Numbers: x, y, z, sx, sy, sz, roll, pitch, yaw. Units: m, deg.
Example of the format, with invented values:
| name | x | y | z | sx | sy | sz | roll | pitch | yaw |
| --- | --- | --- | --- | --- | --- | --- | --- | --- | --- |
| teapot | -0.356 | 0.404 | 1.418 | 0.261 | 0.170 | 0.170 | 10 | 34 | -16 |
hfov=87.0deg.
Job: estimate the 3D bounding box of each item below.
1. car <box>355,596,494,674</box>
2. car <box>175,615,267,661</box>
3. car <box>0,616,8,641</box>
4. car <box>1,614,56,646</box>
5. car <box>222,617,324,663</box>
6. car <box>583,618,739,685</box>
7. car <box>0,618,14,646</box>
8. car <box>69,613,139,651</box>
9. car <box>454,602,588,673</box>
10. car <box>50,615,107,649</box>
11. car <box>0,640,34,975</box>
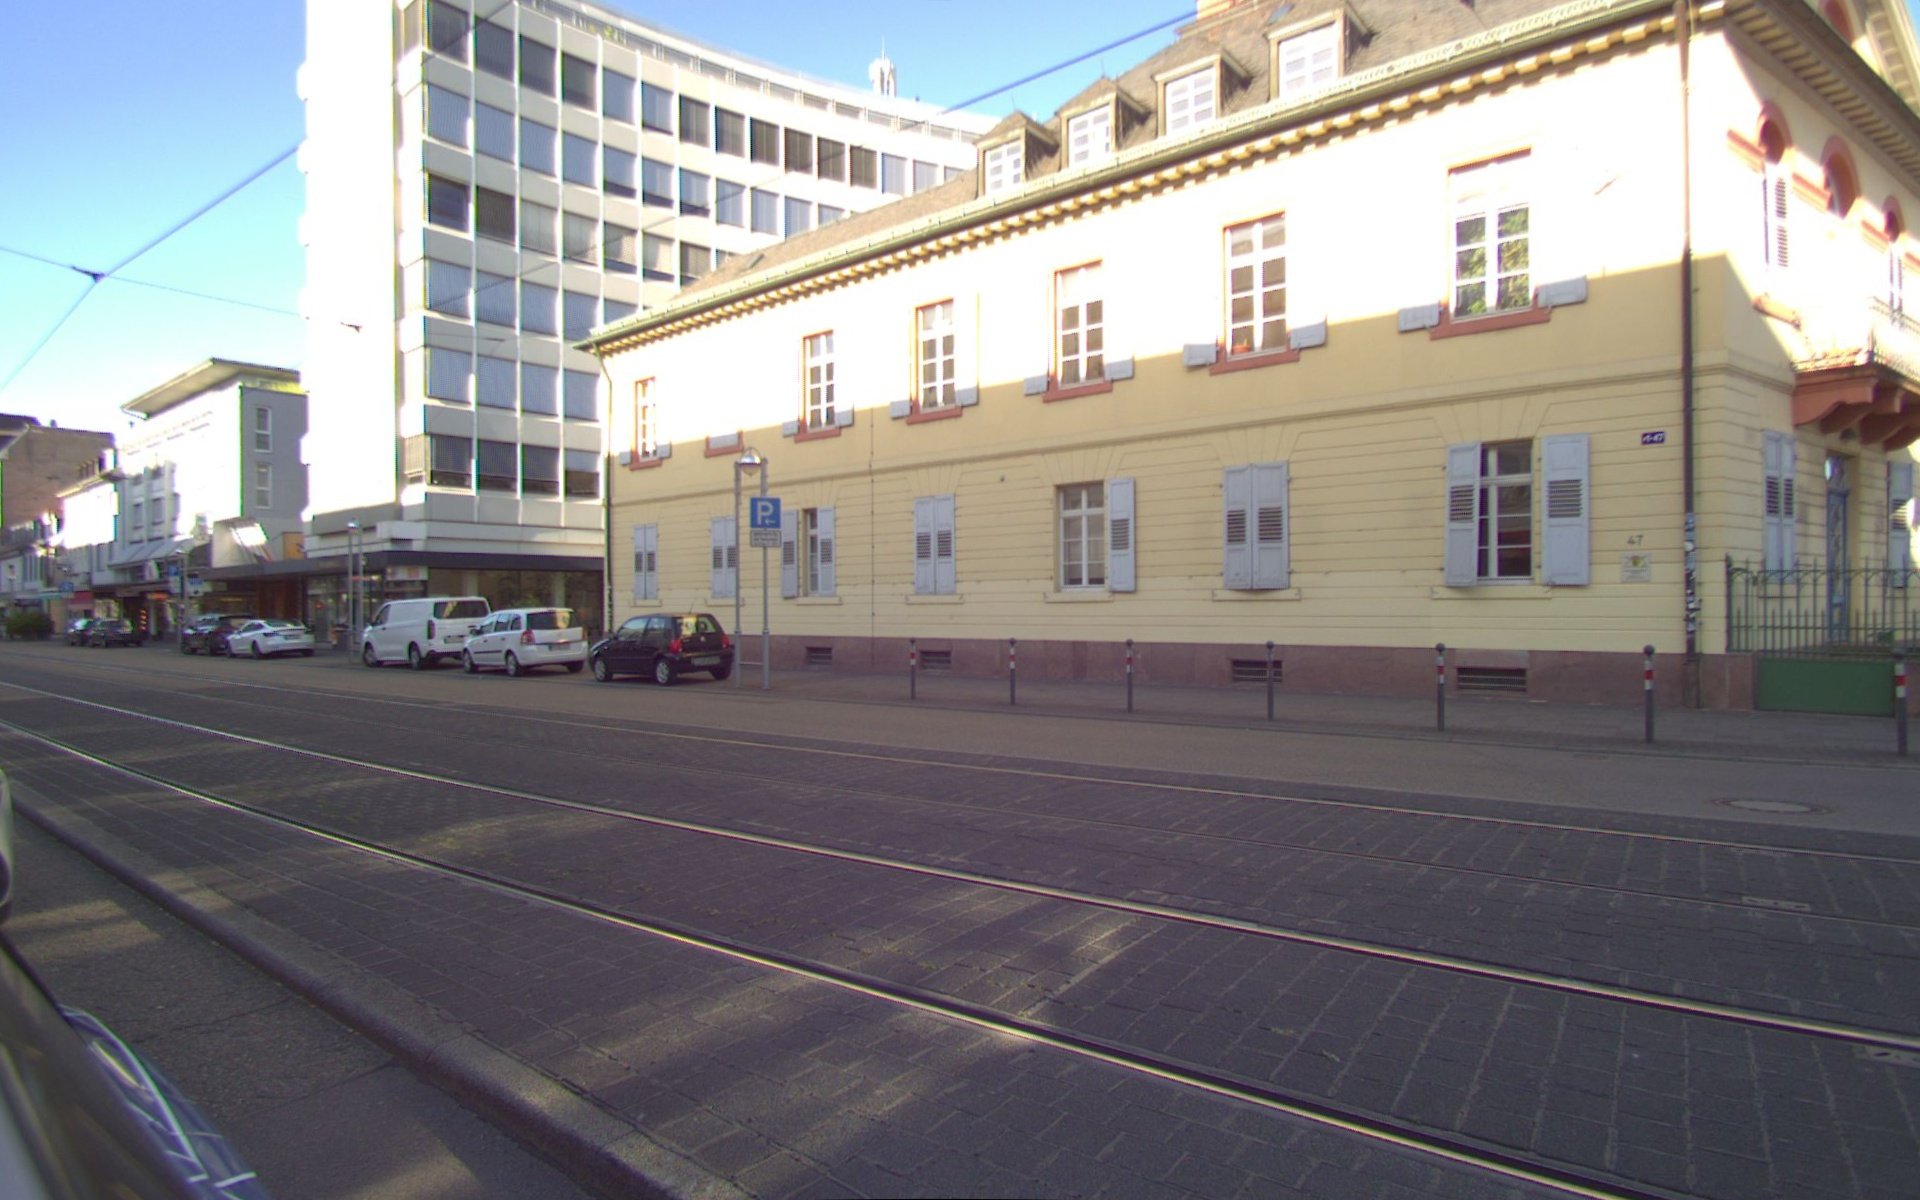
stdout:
| name | x | y | z | sx | sy | sz | roll | pitch | yaw |
| --- | --- | --- | --- | --- | --- | --- | --- | --- | --- |
| car | -15.369 | 0.970 | 28.949 | 4.619 | 2.029 | 2.014 | -1 | -1 | 41 |
| car | -29.846 | 1.491 | 40.842 | 4.103 | 1.717 | 1.975 | -1 | 0 | 38 |
| car | -78.859 | 2.326 | 81.950 | 3.995 | 2.029 | 1.974 | -1 | 0 | 38 |
| car | -62.836 | 2.017 | 68.228 | 3.996 | 2.058 | 2.172 | -1 | -1 | 39 |
| car | -25.605 | 1.445 | 37.673 | 4.369 | 1.541 | 1.974 | -1 | 0 | 39 |
| car | -6.362 | 1.037 | 21.455 | 3.210 | 1.263 | 1.667 | -1 | 0 | 39 |
| car | -71.208 | 2.385 | 74.454 | 3.998 | 2.029 | 1.973 | -1 | -1 | 41 |
| car | -43.934 | 1.601 | 51.902 | 3.995 | 1.874 | 1.974 | -1 | 0 | 38 |
| car | -11.066 | 0.892 | 25.390 | 4.005 | 1.621 | 1.619 | -1 | 0 | 43 |
| car | -50.259 | 1.810 | 57.674 | 3.994 | 1.896 | 1.768 | -1 | -1 | 38 |
| car | -6.115 | 0.903 | 4.757 | 3.992 | 1.393 | 1.862 | -1 | 0 | 36 |
